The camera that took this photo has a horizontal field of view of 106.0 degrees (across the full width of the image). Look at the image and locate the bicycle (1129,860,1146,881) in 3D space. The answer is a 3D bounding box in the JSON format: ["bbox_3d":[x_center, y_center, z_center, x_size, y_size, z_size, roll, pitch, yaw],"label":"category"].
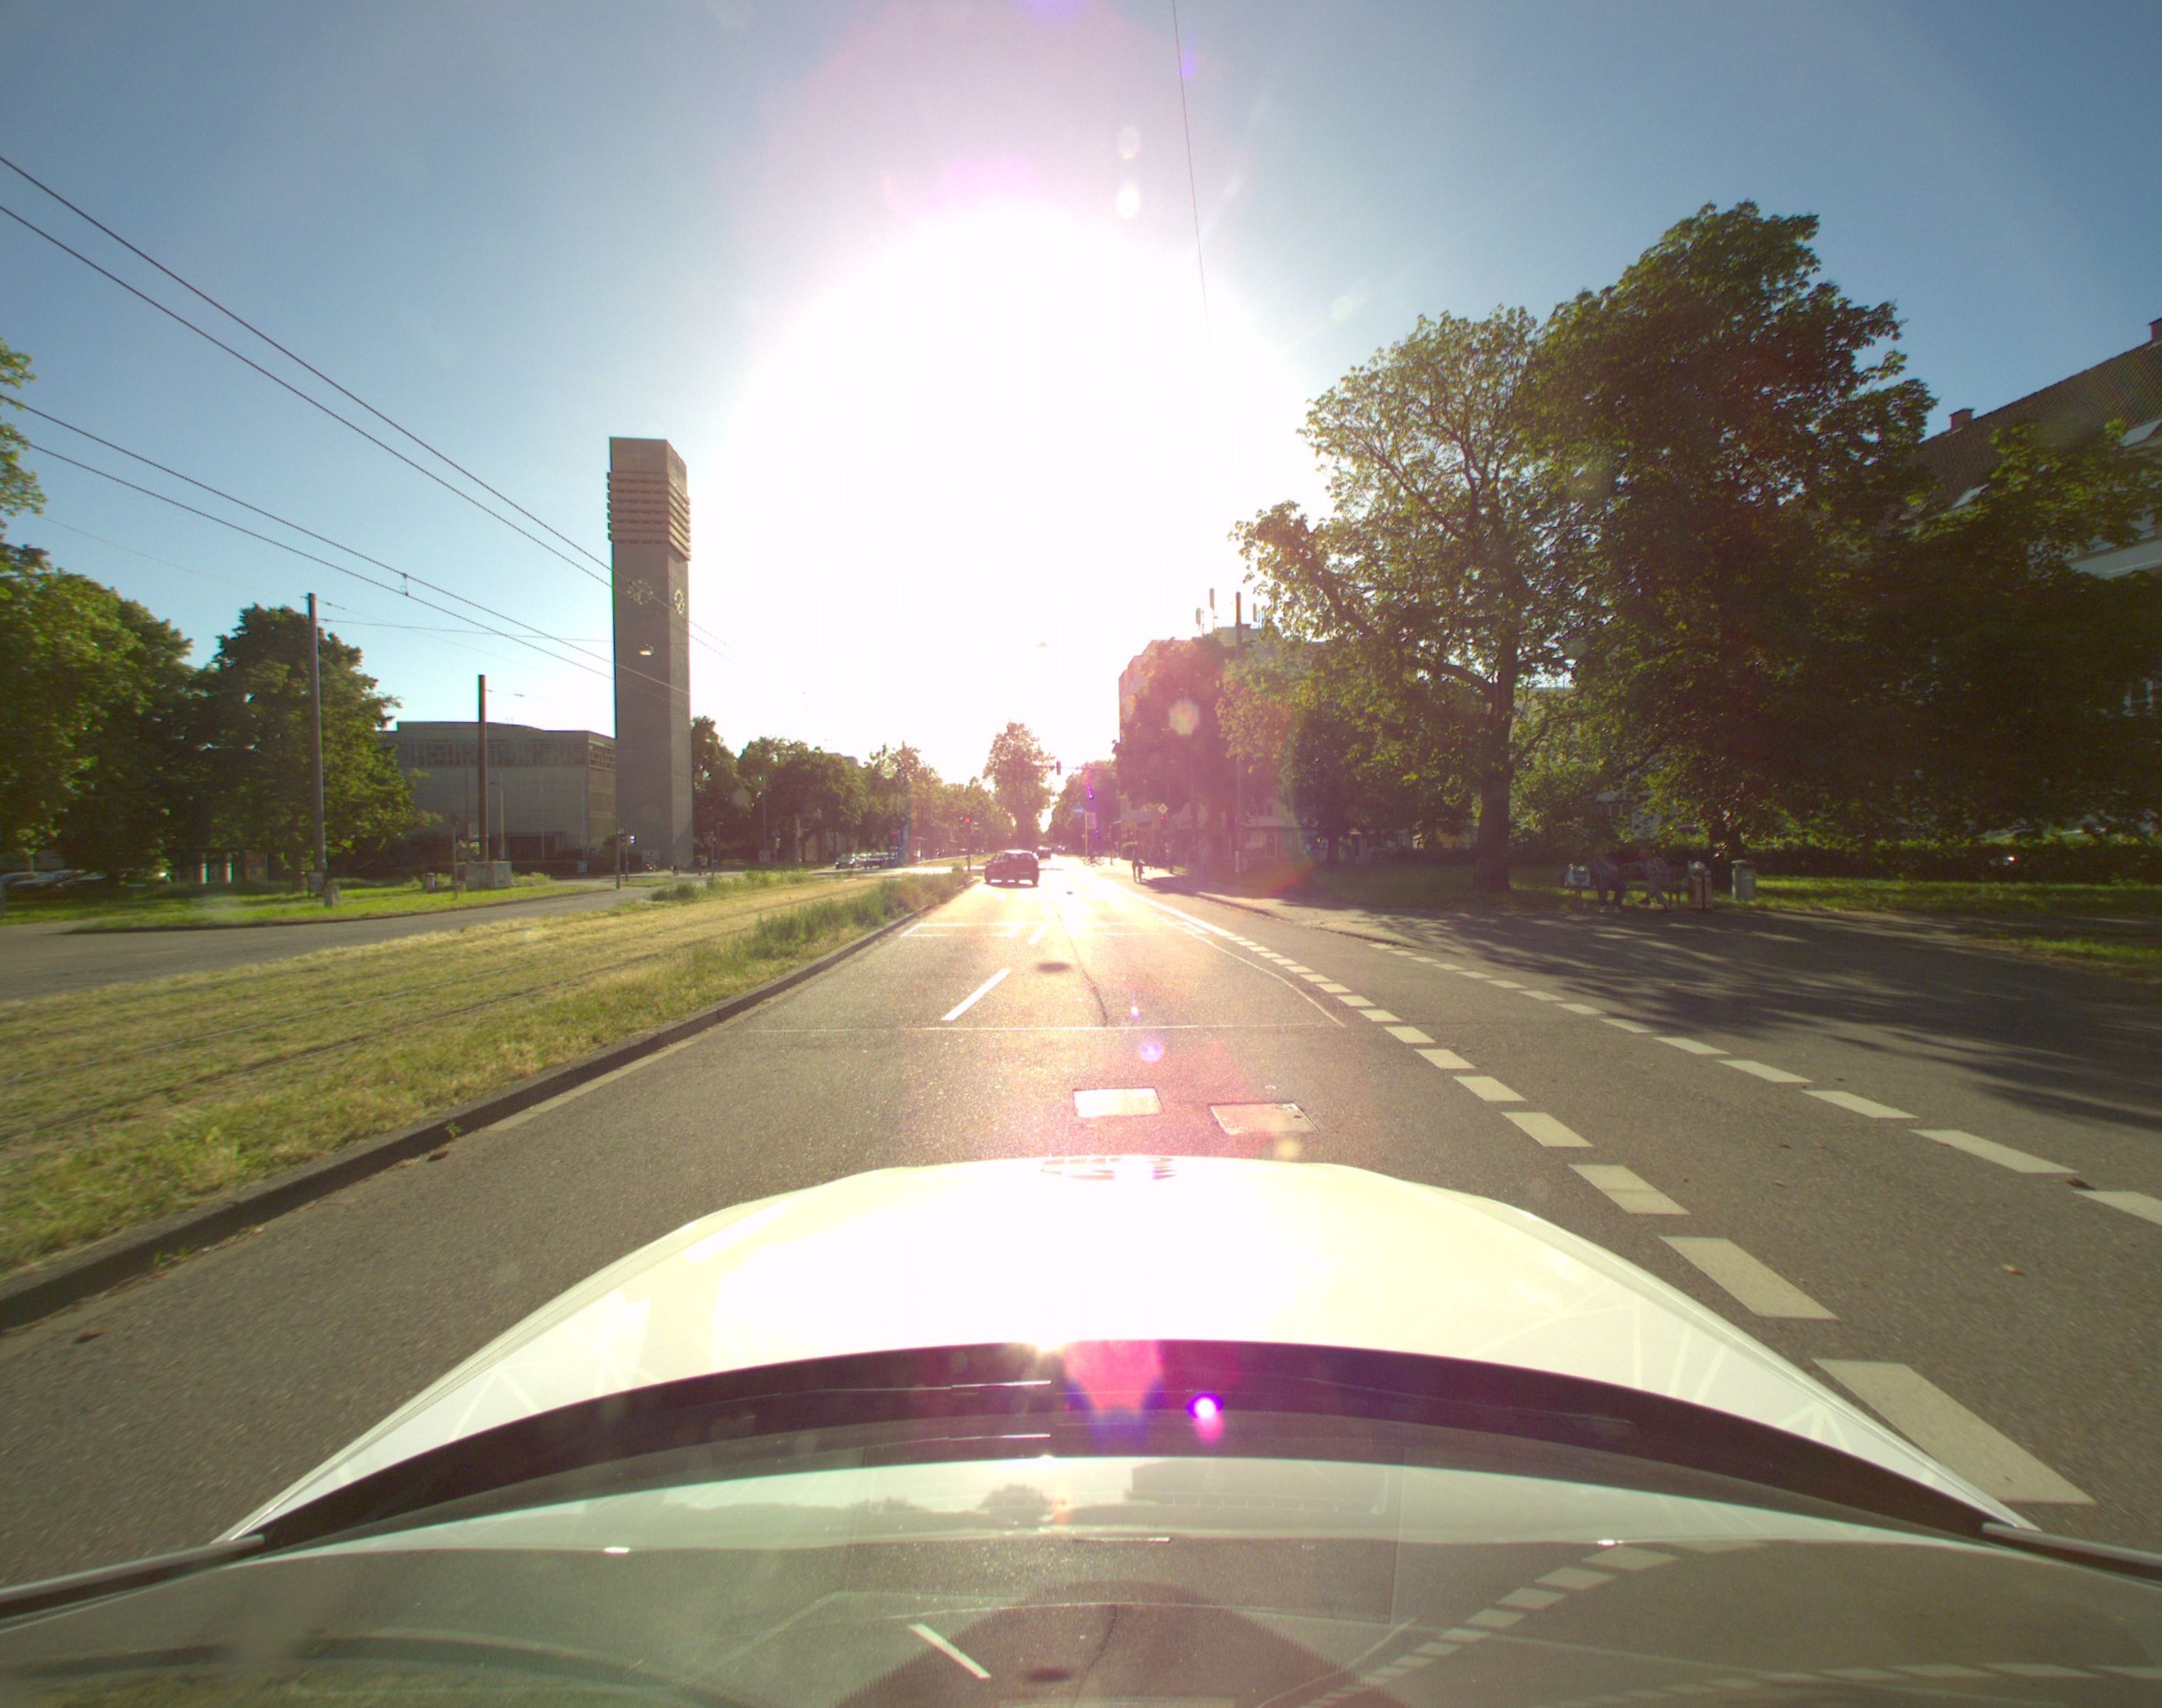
[{"bbox_3d":[2.656,0.760,38.110,0.646,0.972,1.803,1,0,0],"label":"bicycle"}]

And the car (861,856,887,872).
[{"bbox_3d":[-21.124,1.035,83.254,1.683,1.533,4.356,-2,0,-3],"label":"car"}]

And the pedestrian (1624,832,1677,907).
[{"bbox_3d":[10.742,0.282,15.381,0.679,1.373,0.759,1,0,23],"label":"pedestrian"}]

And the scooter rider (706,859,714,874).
[{"bbox_3d":[-29.975,1.028,65.748,0.527,1.218,0.584,1,0,-19],"label":"scooter rider"}]

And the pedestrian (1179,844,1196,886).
[{"bbox_3d":[4.048,0.417,30.984,0.527,1.528,0.628,-3,0,2],"label":"pedestrian"}]

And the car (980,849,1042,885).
[{"bbox_3d":[-3.203,0.552,36.703,1.702,1.508,3.670,0,0,-23],"label":"car"}]

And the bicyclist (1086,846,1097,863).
[{"bbox_3d":[0.985,0.032,75.207,0.763,1.471,0.901,-2,1,14],"label":"bicyclist"}]

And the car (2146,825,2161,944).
[{"bbox_3d":[14.755,0.348,8.678,1.638,1.494,3.789,-2,0,-15],"label":"car"}]

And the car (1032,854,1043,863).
[{"bbox_3d":[-7.885,0.781,148.481,1.890,1.611,4.493,1,0,-4],"label":"car"}]

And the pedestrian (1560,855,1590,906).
[{"bbox_3d":[9.461,0.497,15.617,0.399,0.934,0.626,1,2,23],"label":"pedestrian"}]

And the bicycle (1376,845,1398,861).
[{"bbox_3d":[20.781,-0.085,55.307,0.596,1.034,1.988,1,0,-4],"label":"bicycle"}]

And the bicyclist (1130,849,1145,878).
[{"bbox_3d":[2.659,0.425,38.186,0.636,1.323,0.802,1,0,-1],"label":"bicyclist"}]

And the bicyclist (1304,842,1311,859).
[{"bbox_3d":[20.984,-0.343,75.382,0.526,1.567,0.463,1,0,-6],"label":"bicyclist"}]

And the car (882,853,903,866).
[{"bbox_3d":[-21.176,0.588,91.452,1.562,1.402,3.910,1,0,-3],"label":"car"}]

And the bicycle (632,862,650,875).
[{"bbox_3d":[-36.734,1.200,68.040,0.488,1.046,1.685,1,0,4],"label":"bicycle"}]

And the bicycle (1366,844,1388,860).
[{"bbox_3d":[20.116,-0.119,55.391,0.596,1.034,2.004,1,0,-4],"label":"bicycle"}]

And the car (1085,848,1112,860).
[{"bbox_3d":[2.681,0.027,126.981,3.966,1.860,2.016,1,0,7],"label":"car"}]

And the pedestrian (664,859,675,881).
[{"bbox_3d":[-32.576,1.253,64.513,0.440,1.666,0.747,1,0,6],"label":"pedestrian"}]

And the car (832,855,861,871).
[{"bbox_3d":[-23.788,0.877,82.725,1.803,1.533,4.356,-2,0,-3],"label":"car"}]

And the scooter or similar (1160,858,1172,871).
[{"bbox_3d":[5.286,0.654,50.563,0.596,0.737,0.680,1,0,-4],"label":"scooter or similar"}]

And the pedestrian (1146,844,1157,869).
[{"bbox_3d":[4.438,0.152,51.123,0.643,1.522,0.497,1,0,9],"label":"pedestrian"}]

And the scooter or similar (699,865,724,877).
[{"bbox_3d":[-29.869,1.372,65.807,1.740,0.899,0.560,-2,0,-19],"label":"scooter or similar"}]

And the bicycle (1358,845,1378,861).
[{"bbox_3d":[19.476,-0.074,55.338,0.596,1.034,1.793,1,0,-4],"label":"bicycle"}]

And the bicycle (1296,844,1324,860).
[{"bbox_3d":[21.351,-0.208,76.019,2.466,1.399,0.607,1,0,-5],"label":"bicycle"}]

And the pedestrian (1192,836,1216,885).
[{"bbox_3d":[4.671,0.237,30.916,0.700,1.789,0.694,-4,1,2],"label":"pedestrian"}]

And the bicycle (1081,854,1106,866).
[{"bbox_3d":[1.164,0.533,75.202,2.236,0.987,0.791,-1,5,12],"label":"bicycle"}]

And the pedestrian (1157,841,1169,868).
[{"bbox_3d":[5.151,0.015,51.154,0.725,1.682,0.534,1,0,9],"label":"pedestrian"}]

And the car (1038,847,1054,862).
[{"bbox_3d":[-4.756,0.078,109.451,1.965,1.860,3.993,1,0,-5],"label":"car"}]

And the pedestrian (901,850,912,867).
[{"bbox_3d":[-16.343,0.415,76.149,0.889,1.606,0.613,1,0,-4],"label":"pedestrian"}]

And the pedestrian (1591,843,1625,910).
[{"bbox_3d":[9.898,0.406,15.313,0.399,1.226,0.765,1,0,23],"label":"pedestrian"}]
